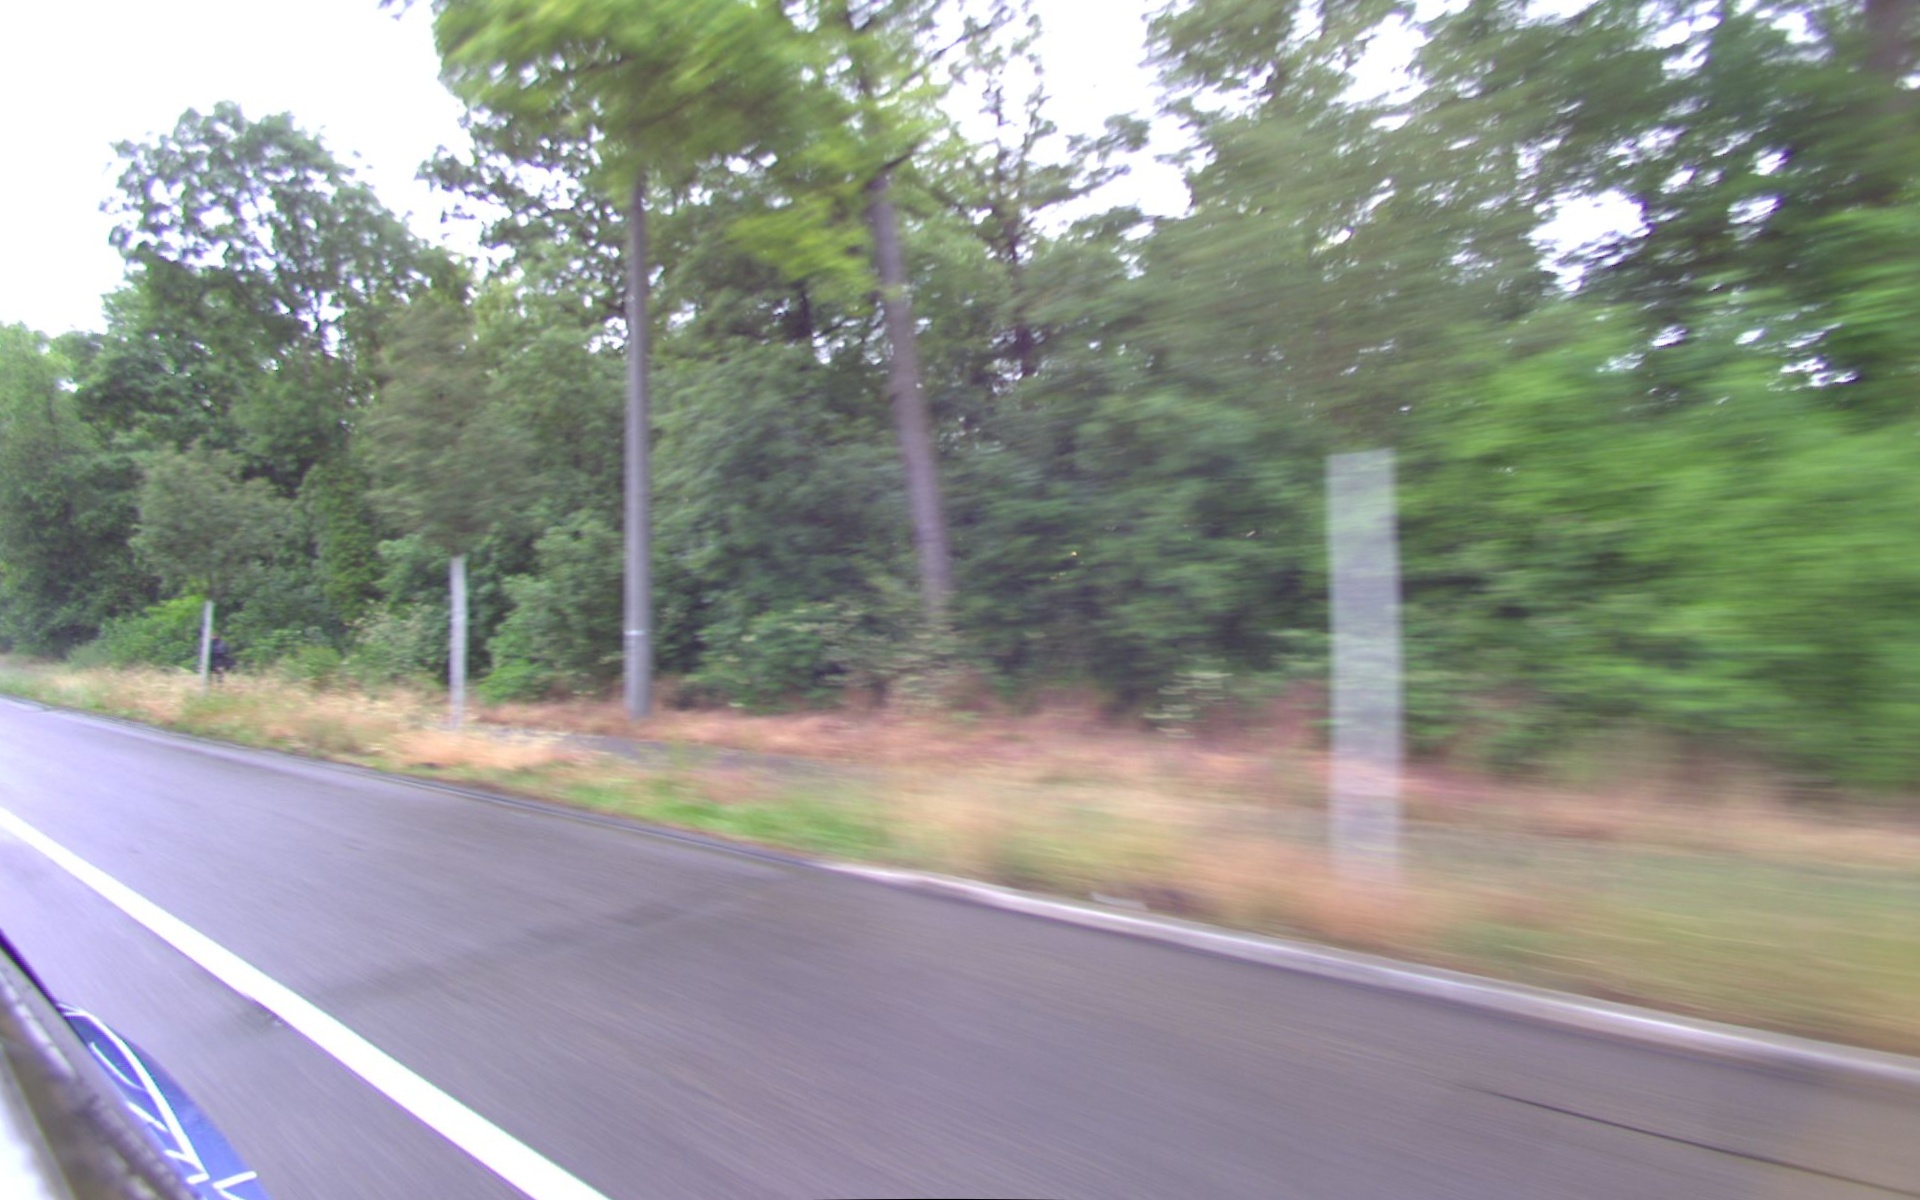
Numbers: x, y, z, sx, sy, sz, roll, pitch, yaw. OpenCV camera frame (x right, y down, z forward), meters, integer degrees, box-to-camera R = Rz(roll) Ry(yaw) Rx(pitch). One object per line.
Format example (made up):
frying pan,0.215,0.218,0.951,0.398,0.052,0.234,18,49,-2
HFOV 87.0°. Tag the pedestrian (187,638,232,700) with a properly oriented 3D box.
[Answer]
pedestrian,-20.092,1.836,27.097,0.731,1.620,0.773,-2,-3,38
